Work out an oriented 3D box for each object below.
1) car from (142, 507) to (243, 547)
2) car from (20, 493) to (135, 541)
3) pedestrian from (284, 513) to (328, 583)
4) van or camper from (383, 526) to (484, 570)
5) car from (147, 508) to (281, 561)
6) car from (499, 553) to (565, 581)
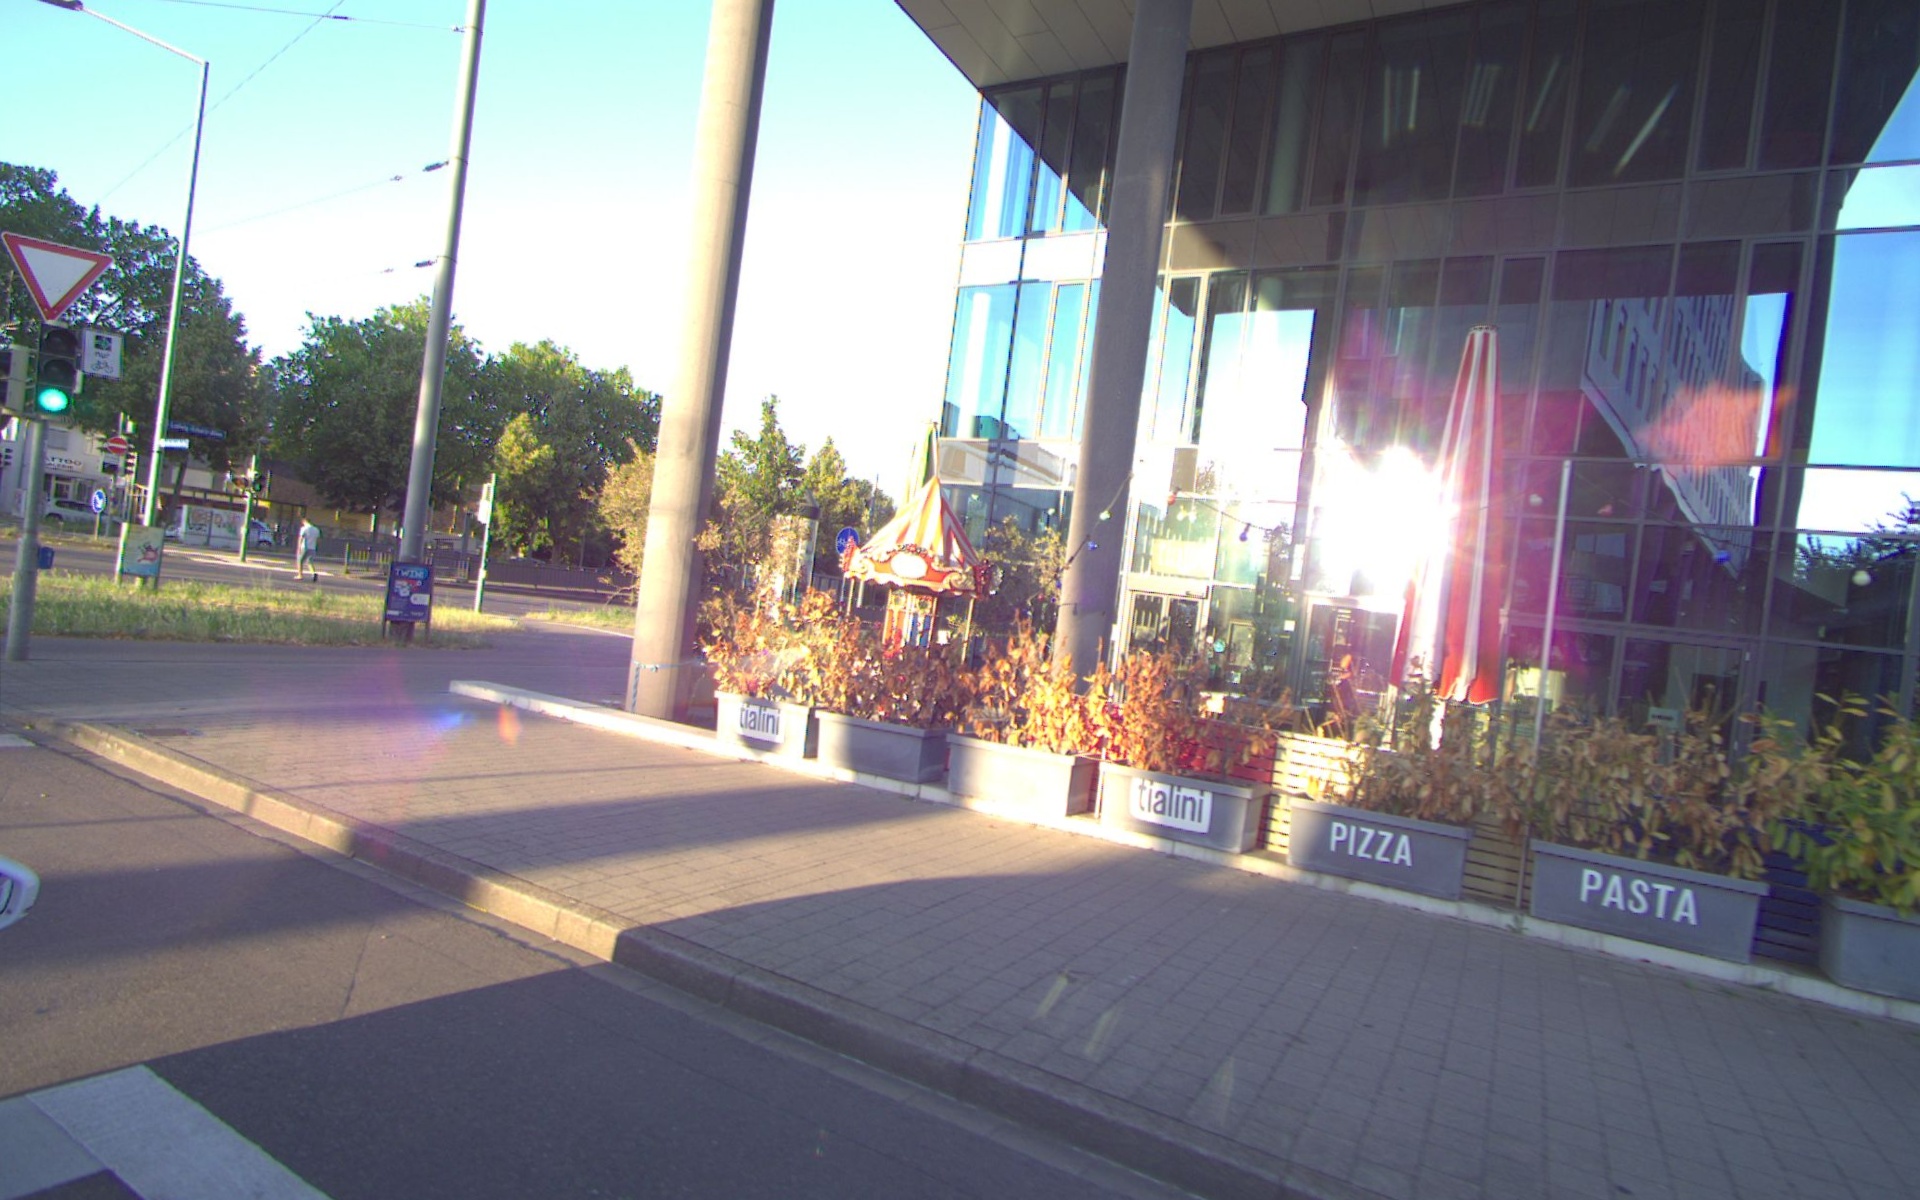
[{"bbox_3d":[-44.818,-4.248,58.814,1.968,1.596,4.234,7,-1,34],"label":"car"},{"bbox_3d":[-47.988,-4.507,54.783,1.968,1.868,4.234,7,-1,34],"label":"car"},{"bbox_3d":[-18.029,-1.425,27.744,0.755,1.812,0.796,8,-1,-28],"label":"pedestrian"},{"bbox_3d":[-41.286,-4.058,79.146,2.229,2.438,6.567,6,-2,36],"label":"van or camper"},{"bbox_3d":[-34.790,-3.012,47.056,1.829,1.748,4.545,7,-1,28],"label":"car"},{"bbox_3d":[-33.138,-2.532,77.958,1.968,1.482,4.234,7,-1,34],"label":"car"}]
